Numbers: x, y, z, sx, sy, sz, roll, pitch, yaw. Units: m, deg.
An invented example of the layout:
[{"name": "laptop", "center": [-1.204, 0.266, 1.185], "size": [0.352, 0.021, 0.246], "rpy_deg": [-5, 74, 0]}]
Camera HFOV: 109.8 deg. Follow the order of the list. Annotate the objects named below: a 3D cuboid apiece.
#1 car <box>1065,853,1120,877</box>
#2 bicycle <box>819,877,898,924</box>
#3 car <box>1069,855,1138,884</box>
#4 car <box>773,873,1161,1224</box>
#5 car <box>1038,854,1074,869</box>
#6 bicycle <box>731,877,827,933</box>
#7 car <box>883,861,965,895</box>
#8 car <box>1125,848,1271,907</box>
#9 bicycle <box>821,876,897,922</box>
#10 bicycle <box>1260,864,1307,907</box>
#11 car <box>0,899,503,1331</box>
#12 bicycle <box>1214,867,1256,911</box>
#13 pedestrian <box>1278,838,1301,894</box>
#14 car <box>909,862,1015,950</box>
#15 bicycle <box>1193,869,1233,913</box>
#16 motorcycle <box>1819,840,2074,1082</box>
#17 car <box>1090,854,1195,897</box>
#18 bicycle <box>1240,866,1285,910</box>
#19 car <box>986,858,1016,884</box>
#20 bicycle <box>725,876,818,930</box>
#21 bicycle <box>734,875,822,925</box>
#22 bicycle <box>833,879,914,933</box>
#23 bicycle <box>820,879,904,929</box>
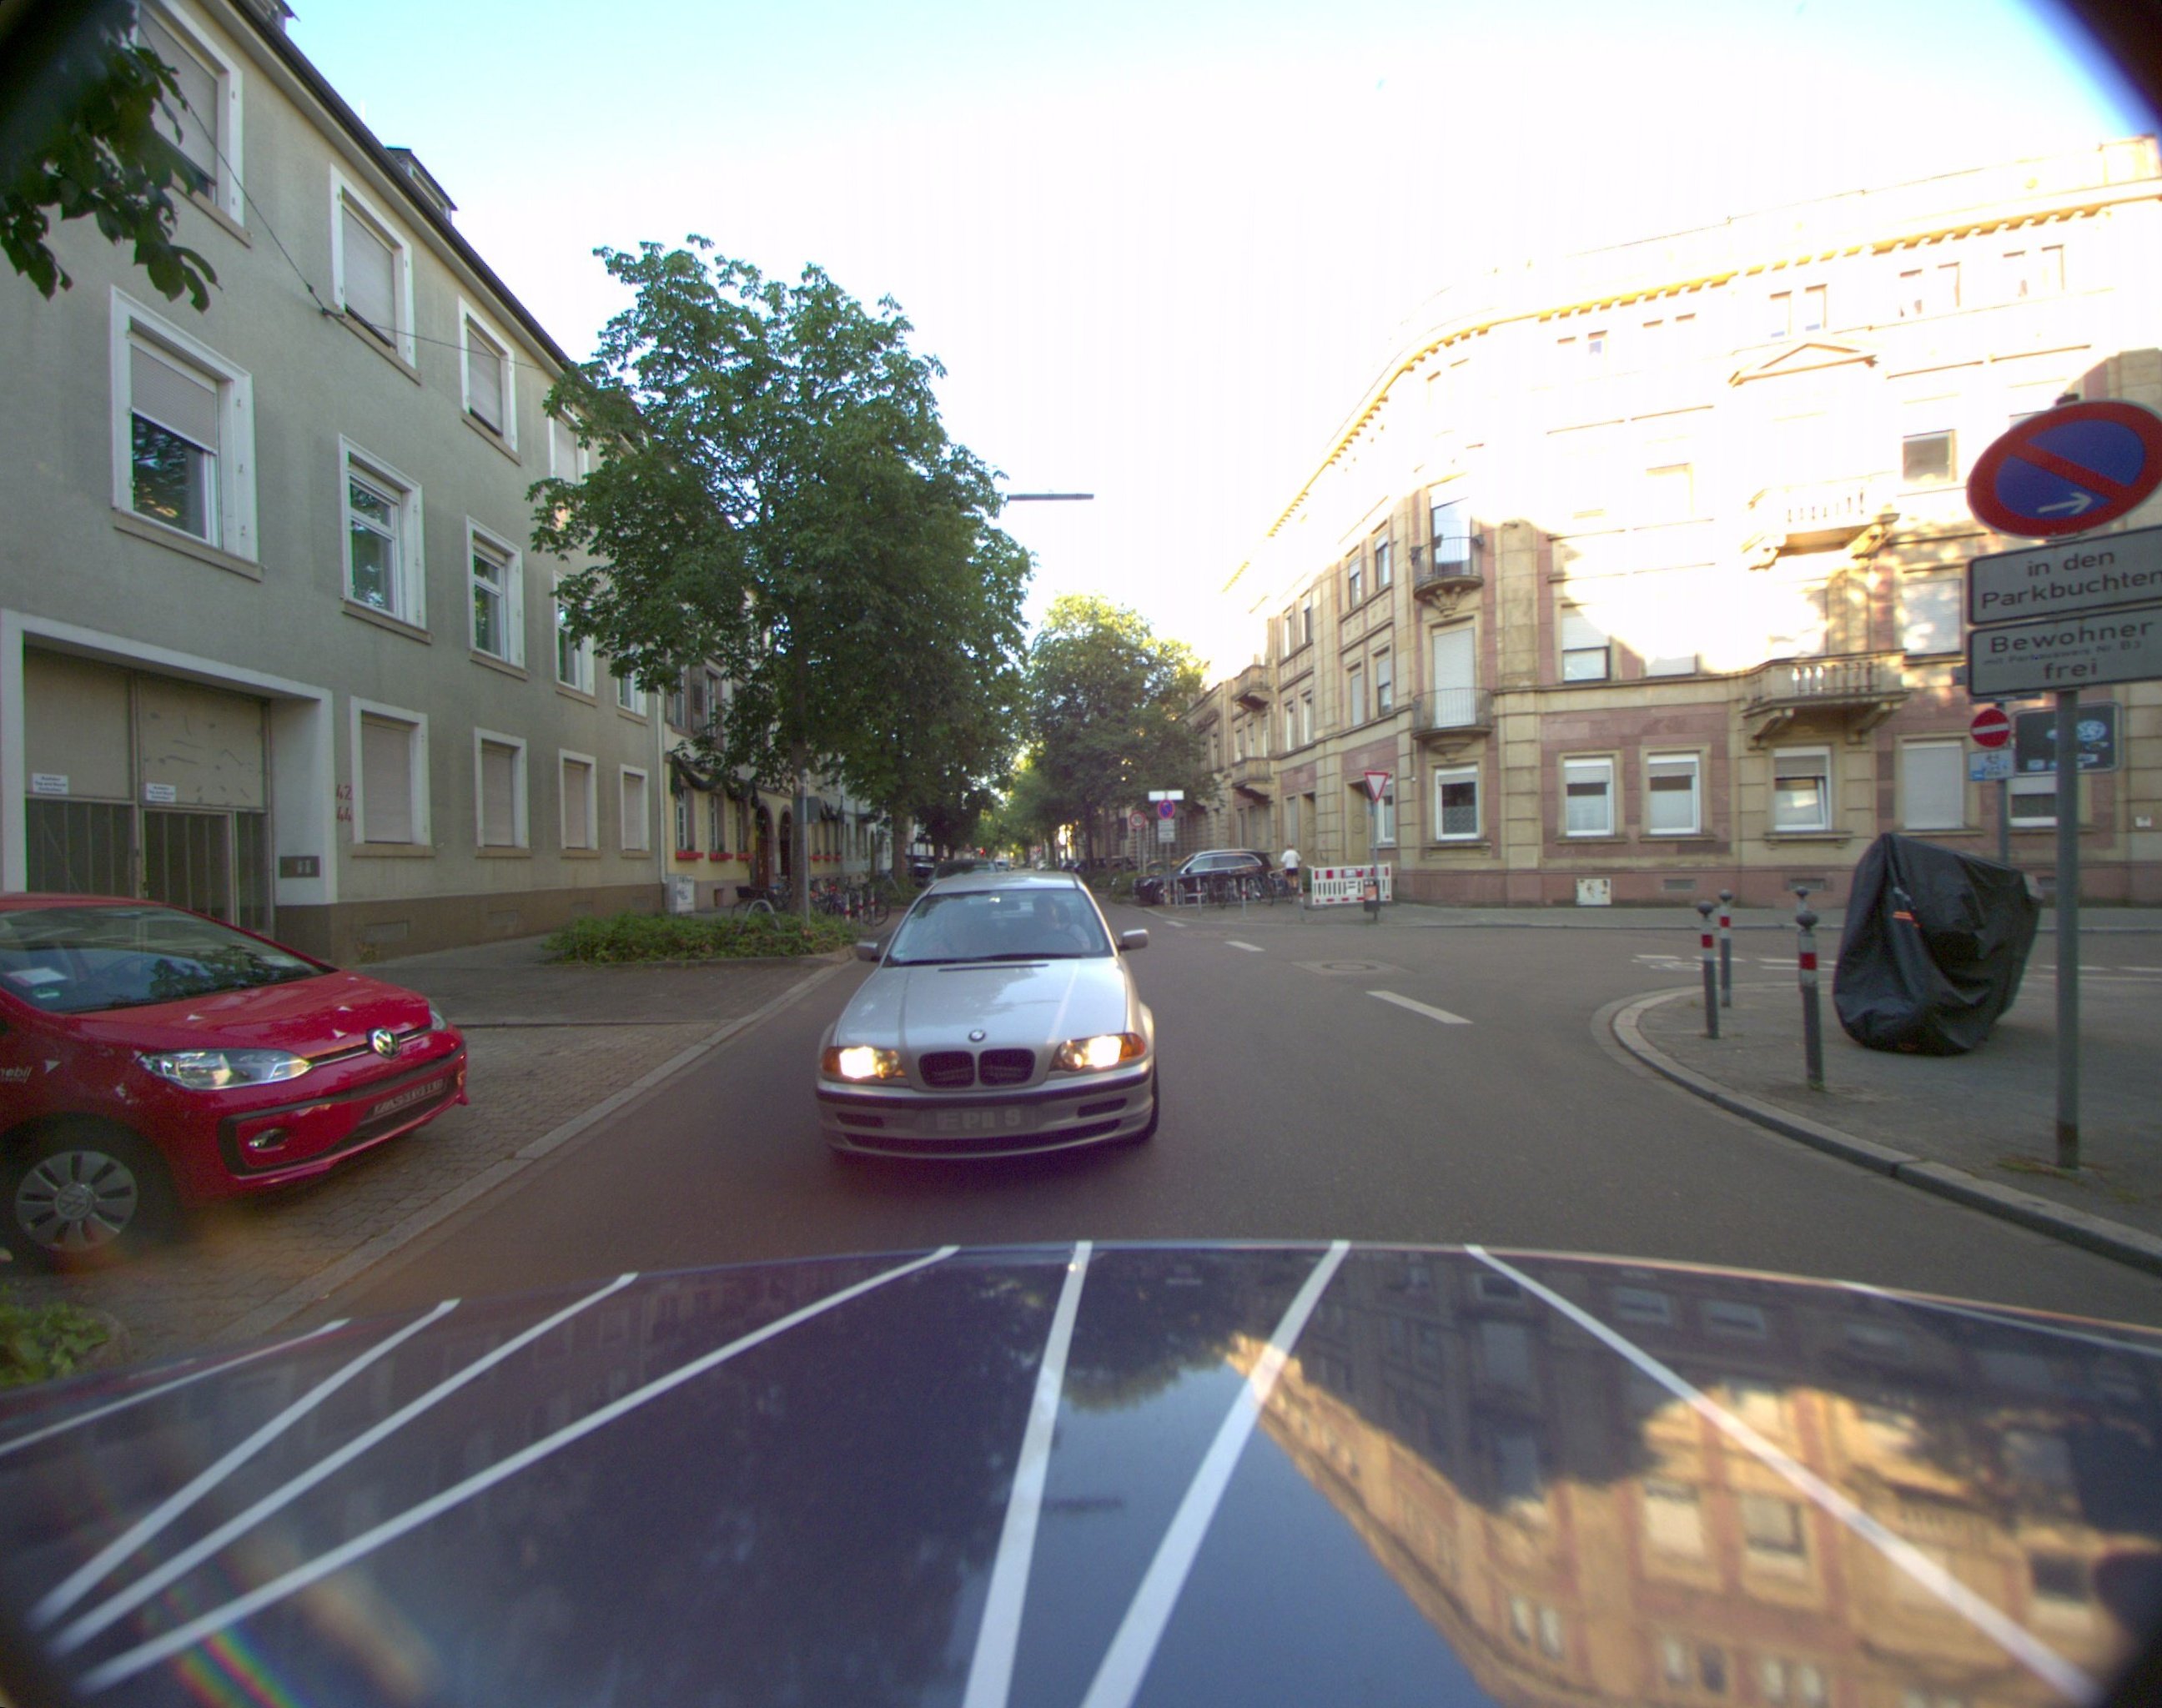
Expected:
[{"name": "car", "center": [0.861, 0.864, 60.890], "size": [4.245, 1.749, 1.741], "rpy_deg": [-1, 0, -5]}, {"name": "bicycle", "center": [-6.123, 1.280, 20.957], "size": [2.029, 1.220, 0.535], "rpy_deg": [-1, 0, -11]}, {"name": "car", "center": [1.410, 0.953, 48.420], "size": [4.245, 1.749, 1.741], "rpy_deg": [-1, 0, -5]}, {"name": "car", "center": [-0.483, 0.931, 5.632], "size": [1.711, 1.433, 4.436], "rpy_deg": [-1, 0, 1]}, {"name": "car", "center": [-3.037, 0.954, 92.573], "size": [4.245, 1.749, 1.741], "rpy_deg": [-1, 0, -5]}, {"name": "bicycle", "center": [-7.029, 1.165, 17.787], "size": [2.030, 1.220, 0.535], "rpy_deg": [-1, 0, -16]}, {"name": "car", "center": [-8.554, 1.272, 41.708], "size": [4.245, 1.729, 1.741], "rpy_deg": [-1, 0, -6]}, {"name": "car", "center": [3.729, 0.740, 24.705], "size": [4.423, 1.771, 1.741], "rpy_deg": [-1, 0, -2]}, {"name": "bicycle", "center": [-6.364, 1.280, 21.827], "size": [2.029, 1.220, 0.535], "rpy_deg": [-1, 0, -11]}, {"name": "bicycle", "center": [5.799, 0.869, 21.859], "size": [0.562, 1.144, 2.038], "rpy_deg": [-1, 0, -8]}, {"name": "car", "center": [-5.159, 1.034, 3.472], "size": [3.621, 1.468, 1.663], "rpy_deg": [-1, 0, -7]}, {"name": "bicycle", "center": [4.387, 0.972, 21.768], "size": [0.562, 1.144, 2.038], "rpy_deg": [-1, 0, -6]}, {"name": "pedestrian", "center": [6.885, 0.393, 25.132], "size": [0.572, 1.797, 0.651], "rpy_deg": [-1, 1, 4]}, {"name": "car", "center": [-2.361, 0.972, 16.004], "size": [1.806, 1.543, 3.998], "rpy_deg": [-1, 0, -4]}, {"name": "bicycle", "center": [3.748, 1.016, 21.699], "size": [0.562, 1.144, 2.038], "rpy_deg": [-1, 0, -6]}, {"name": "motorcycle", "center": [6.503, 0.666, 5.677], "size": [2.286, 1.496, 0.816], "rpy_deg": [-1, 1, -30]}, {"name": "car", "center": [2.532, 0.883, 32.127], "size": [4.243, 1.668, 1.742], "rpy_deg": [-1, 0, -1]}, {"name": "bicycle", "center": [5.180, 0.950, 21.810], "size": [0.562, 1.144, 2.038], "rpy_deg": [-1, 0, -8]}, {"name": "car", "center": [-5.151, 1.077, 49.142], "size": [1.806, 1.543, 3.998], "rpy_deg": [-1, 0, -5]}, {"name": "bicycle", "center": [-7.489, 1.175, 18.489], "size": [2.030, 1.220, 0.535], "rpy_deg": [-1, 0, -16]}, {"name": "bicycle", "center": [-7.810, 1.175, 19.635], "size": [2.029, 1.220, 0.535], "rpy_deg": [-1, 0, -13]}, {"name": "bicycle", "center": [-5.032, 1.249, 18.437], "size": [1.849, 1.220, 0.535], "rpy_deg": [-1, 0, -16]}, {"name": "bicycle", "center": [-5.656, 1.276, 19.676], "size": [2.029, 1.220, 0.535], "rpy_deg": [-1, 0, -11]}]
